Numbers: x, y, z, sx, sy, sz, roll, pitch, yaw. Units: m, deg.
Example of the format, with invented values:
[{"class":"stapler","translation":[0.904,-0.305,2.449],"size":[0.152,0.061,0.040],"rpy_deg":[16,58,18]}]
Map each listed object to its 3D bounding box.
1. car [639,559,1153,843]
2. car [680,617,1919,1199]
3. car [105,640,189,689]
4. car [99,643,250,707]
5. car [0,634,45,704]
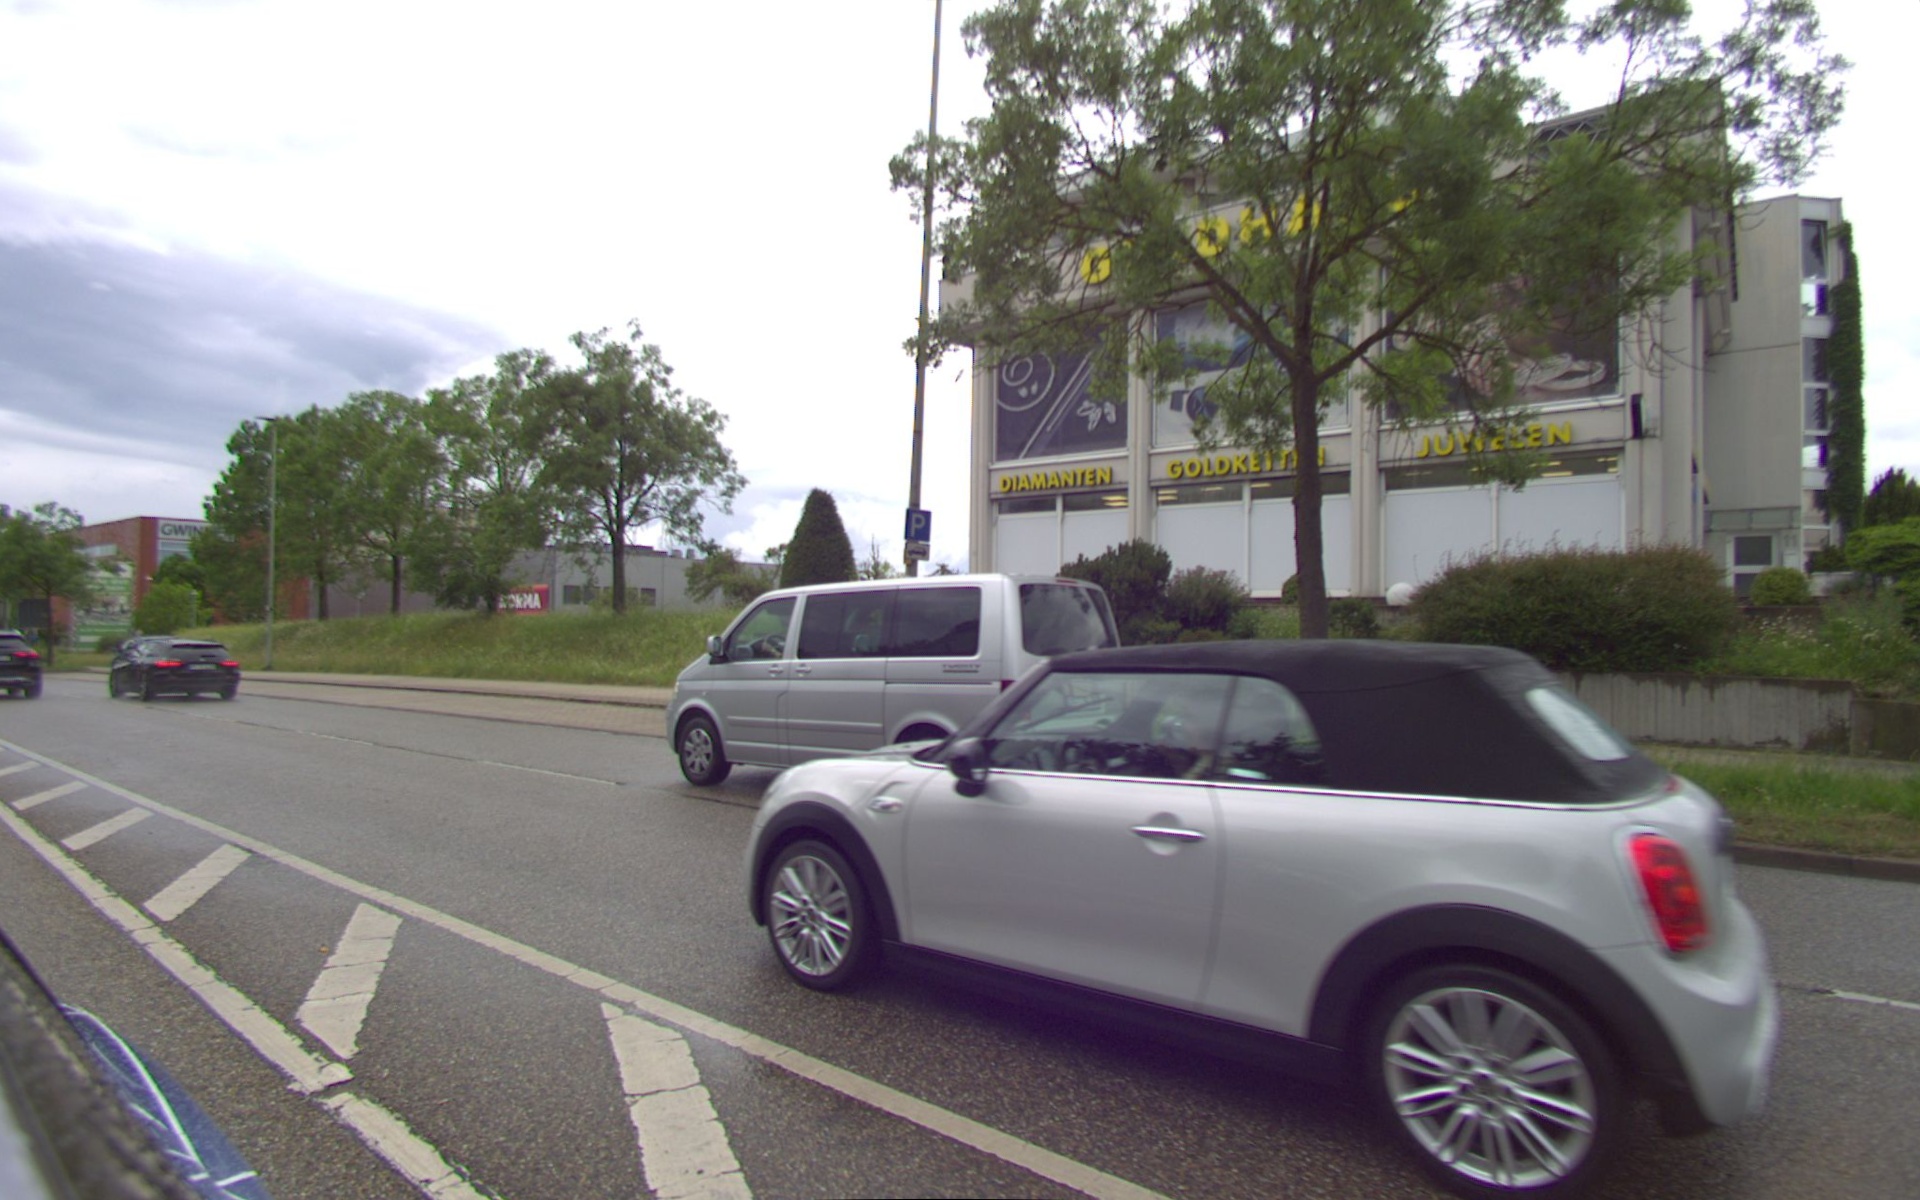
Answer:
[{"class":"car","translation":[-0.808,0.809,9.418],"size":[4.894,1.998,1.777],"rpy_deg":[-2,-4,40]},{"class":"car","translation":[0.840,0.818,3.908],"size":[3.995,1.409,1.651],"rpy_deg":[-2,-4,38]},{"class":"car","translation":[-31.139,2.449,38.719],"size":[4.485,1.681,1.708],"rpy_deg":[-3,-2,41]},{"class":"car","translation":[-19.013,1.761,24.453],"size":[4.292,1.412,1.776],"rpy_deg":[-2,-4,37]},{"class":"car","translation":[-23.911,1.642,24.654],"size":[4.280,1.620,1.804],"rpy_deg":[-2,-4,40]}]
